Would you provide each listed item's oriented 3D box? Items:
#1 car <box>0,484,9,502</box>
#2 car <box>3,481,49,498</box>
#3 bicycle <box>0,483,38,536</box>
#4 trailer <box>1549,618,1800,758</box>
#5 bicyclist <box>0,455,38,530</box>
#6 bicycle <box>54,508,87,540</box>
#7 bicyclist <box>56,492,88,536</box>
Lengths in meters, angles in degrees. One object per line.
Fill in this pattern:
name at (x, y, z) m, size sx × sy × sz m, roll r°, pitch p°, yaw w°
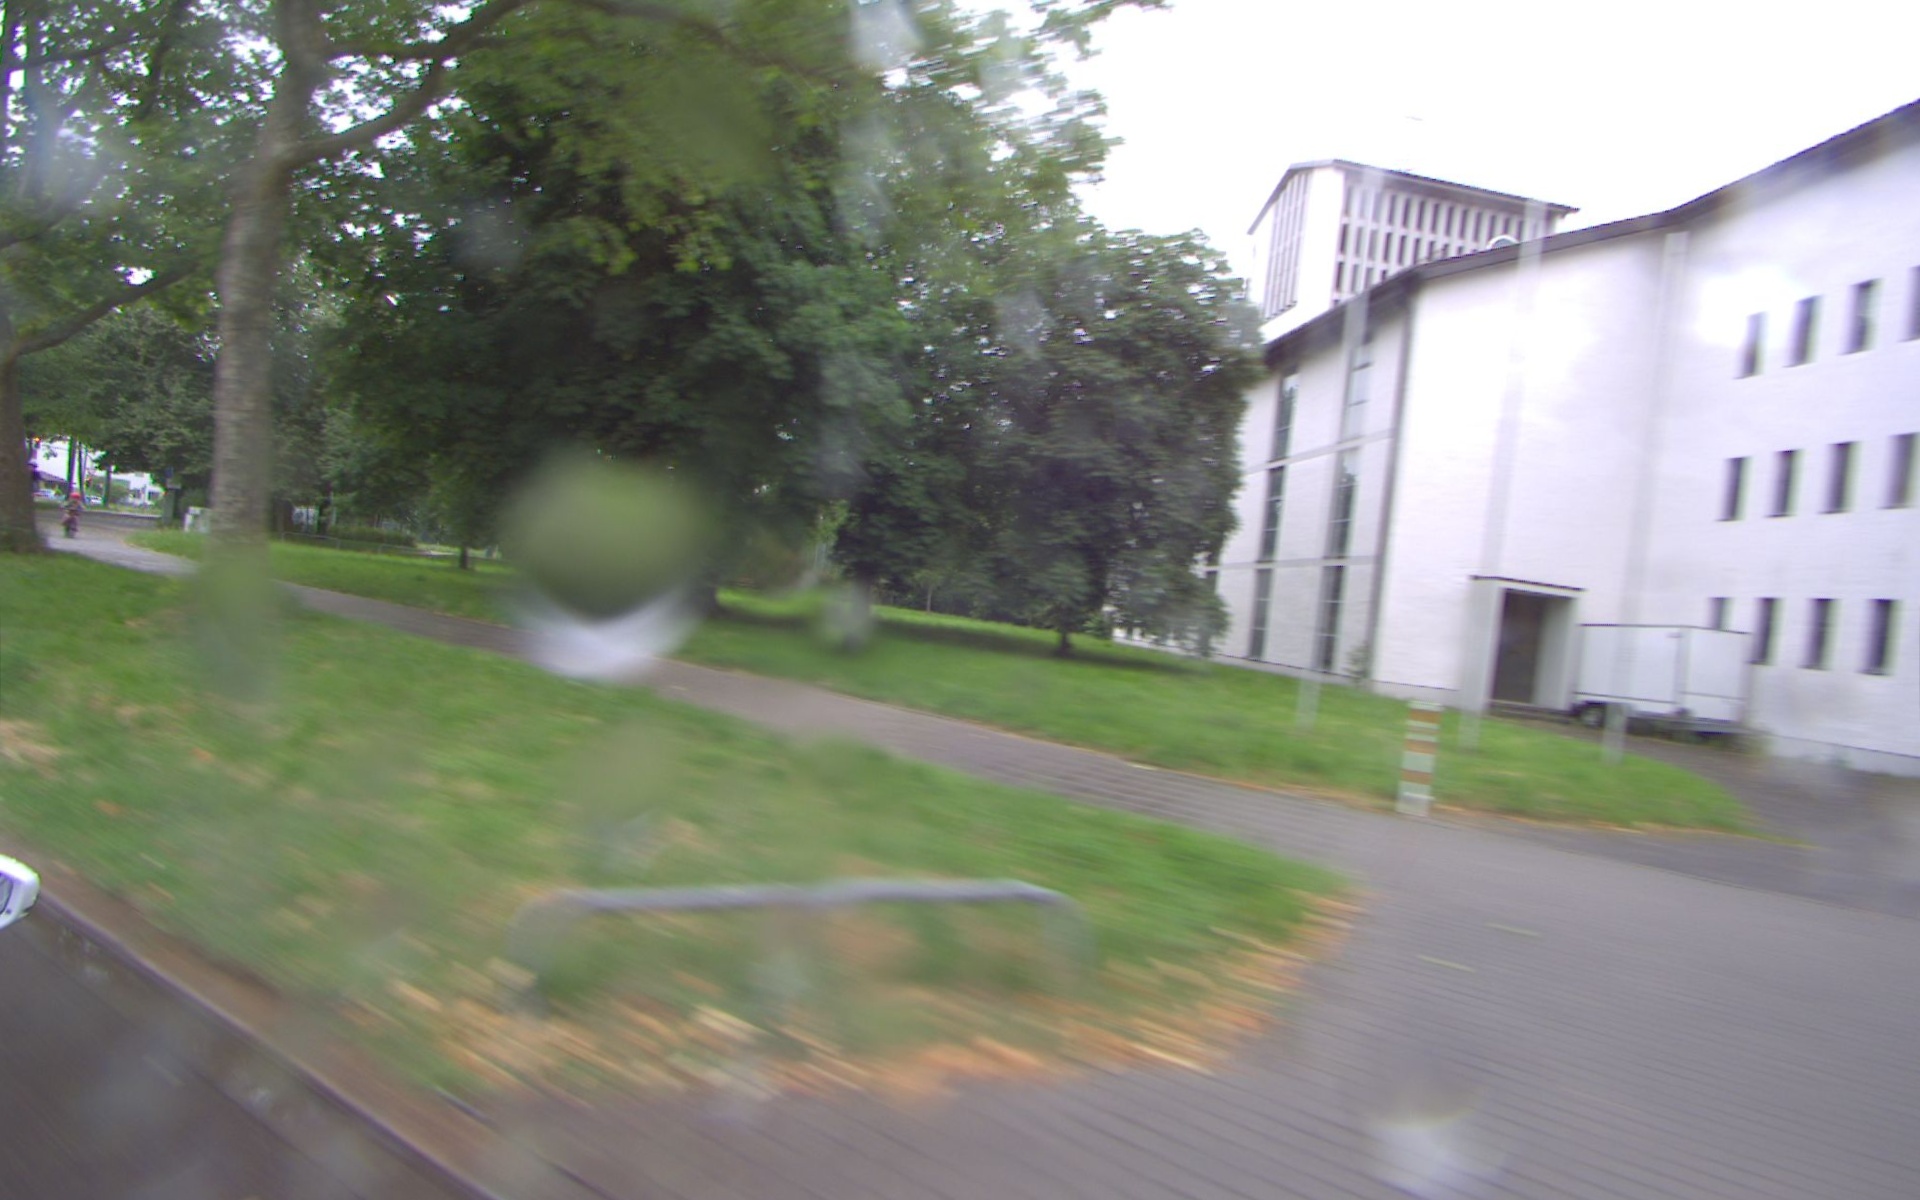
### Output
car at (-82.688, -9.246, 85.917) m, size 3.760 × 1.438 × 1.681 m, roll 7°, pitch 1°, yaw 40°
car at (-116.122, -13.734, 125.123) m, size 3.717 × 1.460 × 1.750 m, roll 6°, pitch 0°, yaw -28°
bicycle at (-23.642, -2.279, 25.124) m, size 1.945 × 1.157 × 0.709 m, roll 8°, pitch 2°, yaw 44°
trailer at (14.891, 1.736, 21.299) m, size 1.860 × 2.338 × 4.013 m, roll 7°, pitch 1°, yaw -8°
bicyclist at (-23.620, -2.683, 25.124) m, size 0.944 × 1.743 × 0.709 m, roll 9°, pitch 2°, yaw 43°
bicycle at (-22.916, -1.966, 25.903) m, size 1.438 × 0.717 × 0.485 m, roll 8°, pitch 1°, yaw 44°
bicyclist at (-22.792, -2.206, 25.820) m, size 0.583 × 1.051 × 0.485 m, roll 8°, pitch 2°, yaw 43°
